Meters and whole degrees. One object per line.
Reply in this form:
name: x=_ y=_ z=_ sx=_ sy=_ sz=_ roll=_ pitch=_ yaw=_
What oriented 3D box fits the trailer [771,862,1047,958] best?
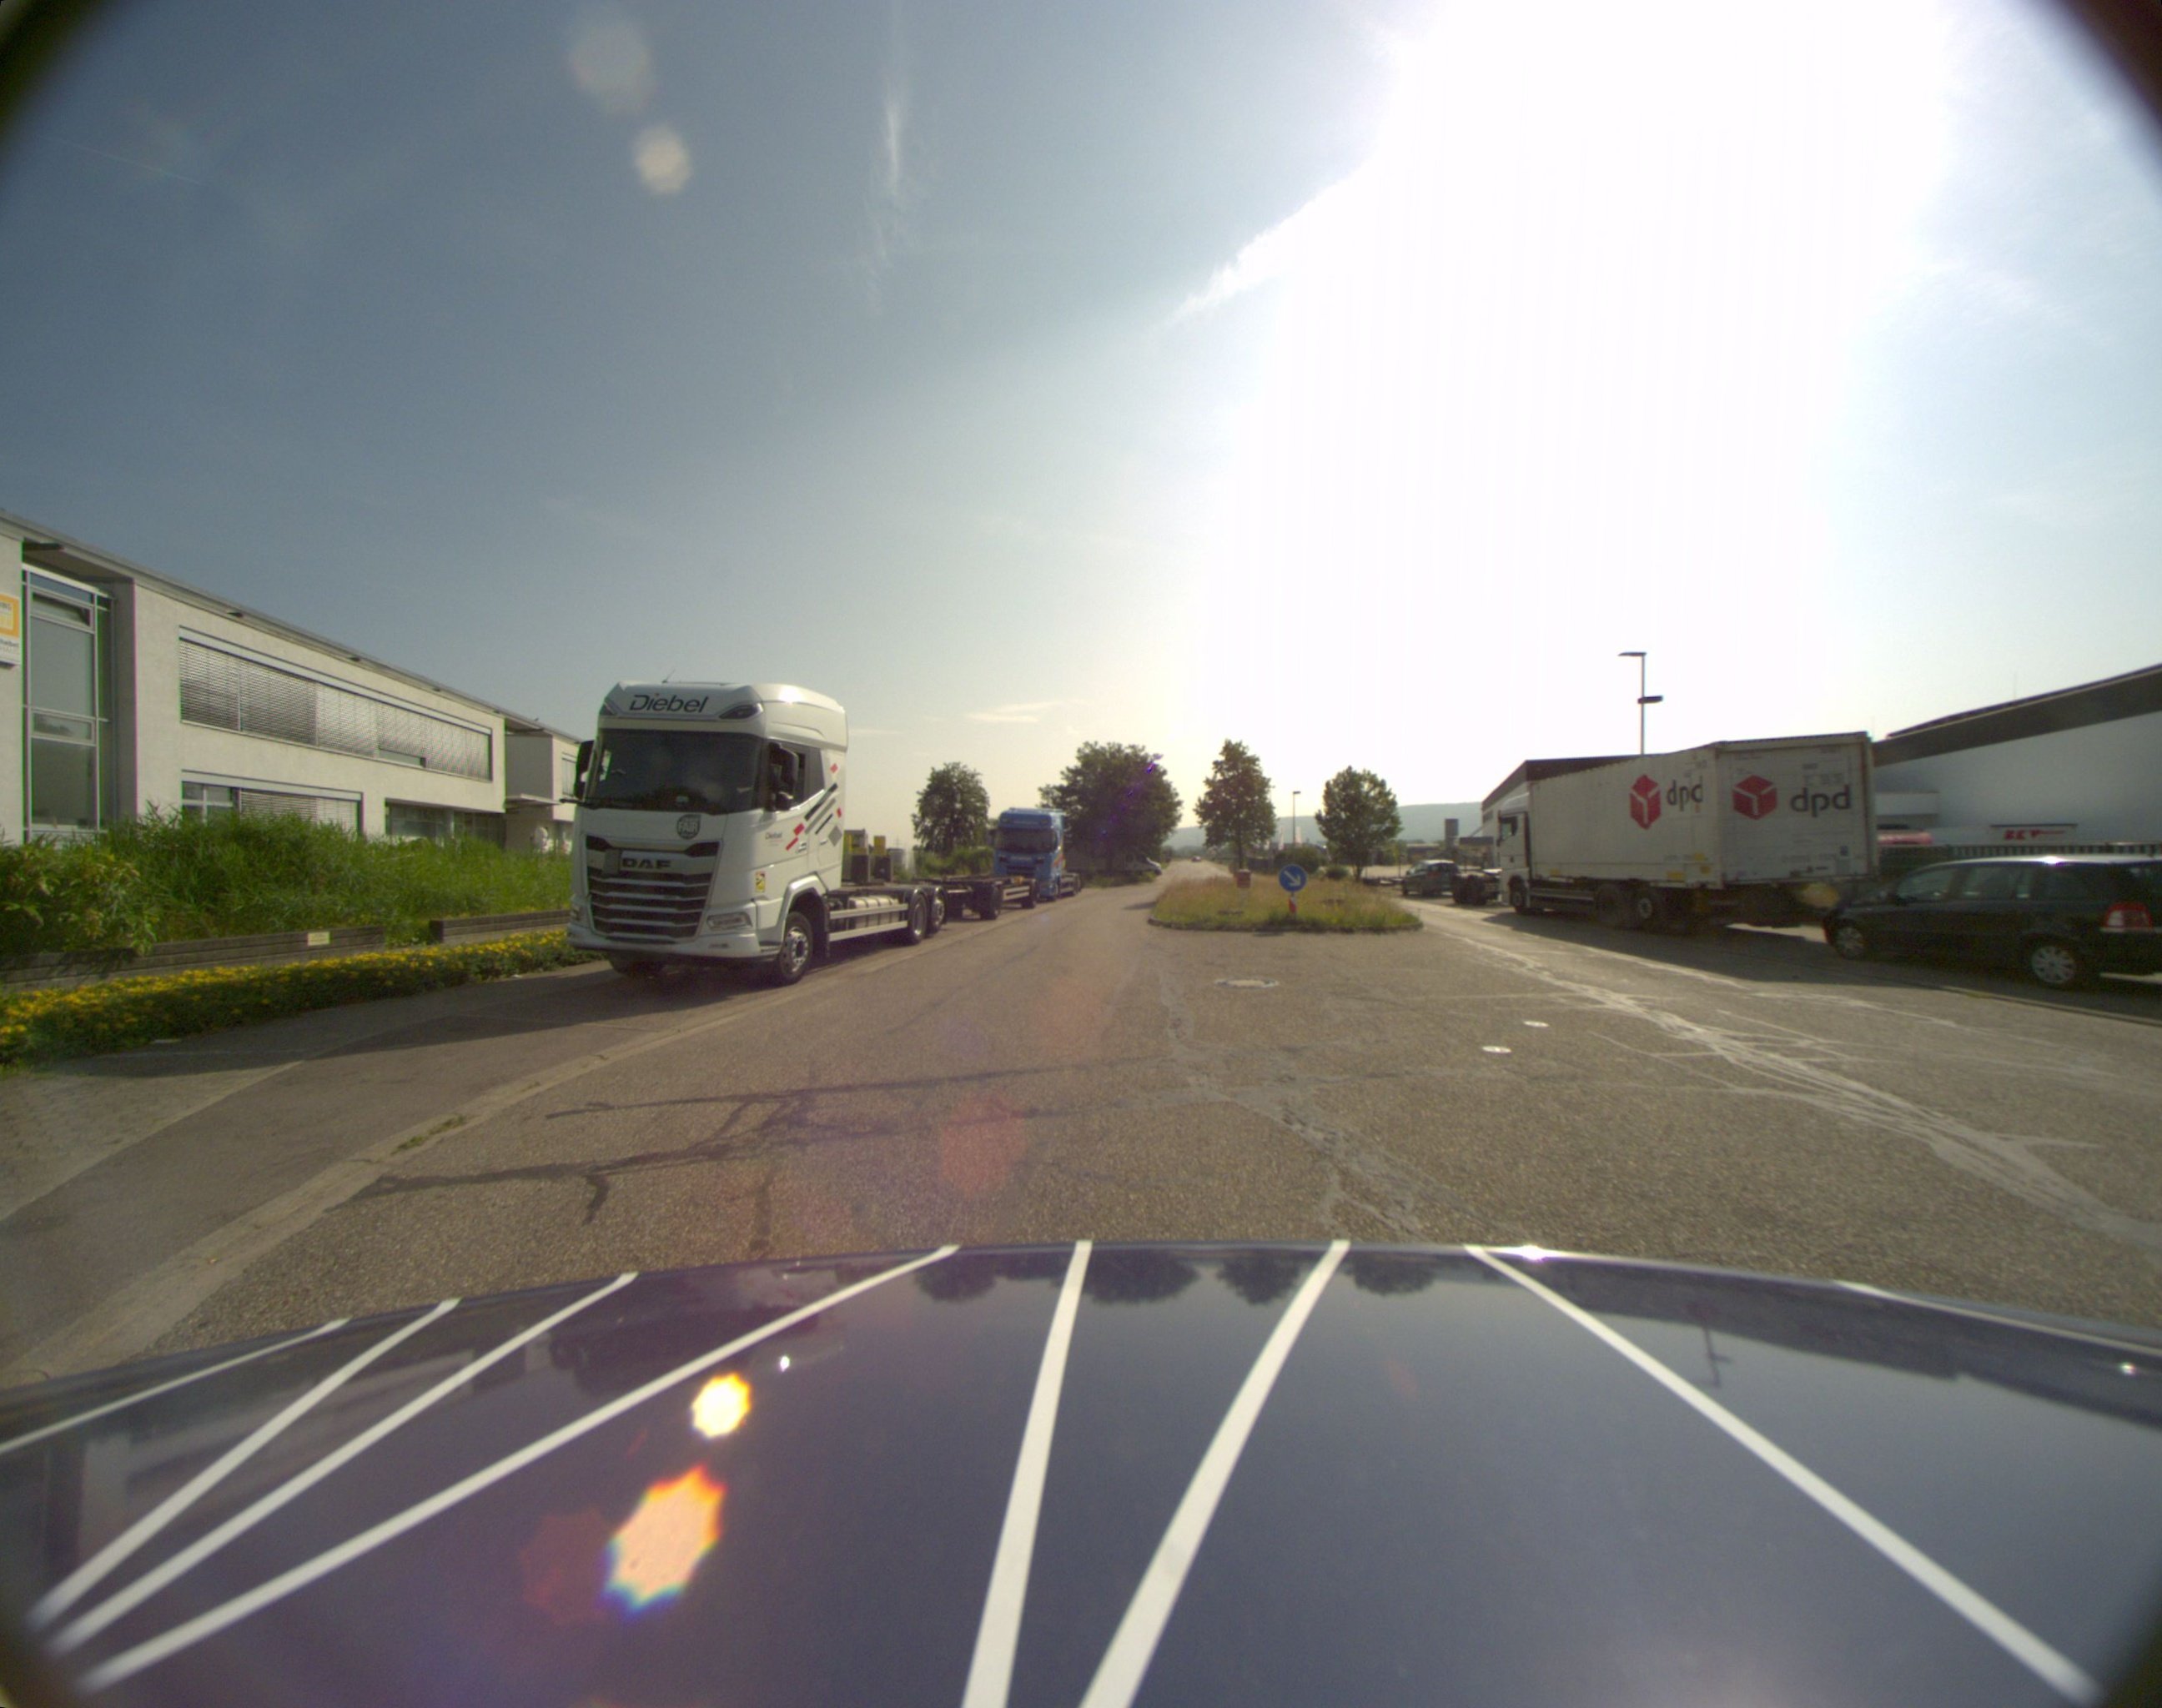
trailer: x=-3.436 y=1.067 z=20.649 sx=2.551 sy=1.383 sz=14.143 roll=2 pitch=1 yaw=7

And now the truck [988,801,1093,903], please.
truck: x=-1.491 y=-0.050 z=34.666 sx=3.042 sy=3.916 sz=10.584 roll=0 pitch=0 yaw=7

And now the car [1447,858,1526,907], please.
car: x=14.577 y=0.976 z=27.454 sx=1.441 sy=1.597 sz=3.170 roll=-2 pitch=0 yaw=7

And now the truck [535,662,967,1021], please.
truck: x=-4.402 y=-0.193 z=12.795 sx=2.557 sy=3.959 sz=8.586 roll=2 pitch=1 yaw=7

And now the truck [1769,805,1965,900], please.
truck: x=38.819 y=-0.088 z=38.309 sx=2.783 sy=4.021 sz=12.376 roll=0 pitch=0 yaw=26

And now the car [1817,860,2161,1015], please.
car: x=12.631 y=0.914 z=10.171 sx=1.766 sy=1.583 sz=4.195 roll=-2 pitch=0 yaw=6

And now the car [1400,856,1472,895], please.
car: x=15.727 y=0.928 z=33.843 sx=1.734 sy=1.573 sz=3.969 roll=-2 pitch=0 yaw=7

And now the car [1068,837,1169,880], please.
car: x=3.113 y=0.356 z=63.224 sx=8.146 sy=3.217 sz=2.664 roll=-2 pitch=0 yaw=2

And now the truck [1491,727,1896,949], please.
truck: x=13.661 y=-0.284 z=18.652 sx=2.782 sy=3.831 sz=10.068 roll=-3 pitch=0 yaw=8

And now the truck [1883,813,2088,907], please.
truck: x=43.532 y=0.241 z=37.108 sx=2.902 sy=4.032 sz=9.255 roll=0 pitch=0 yaw=26
